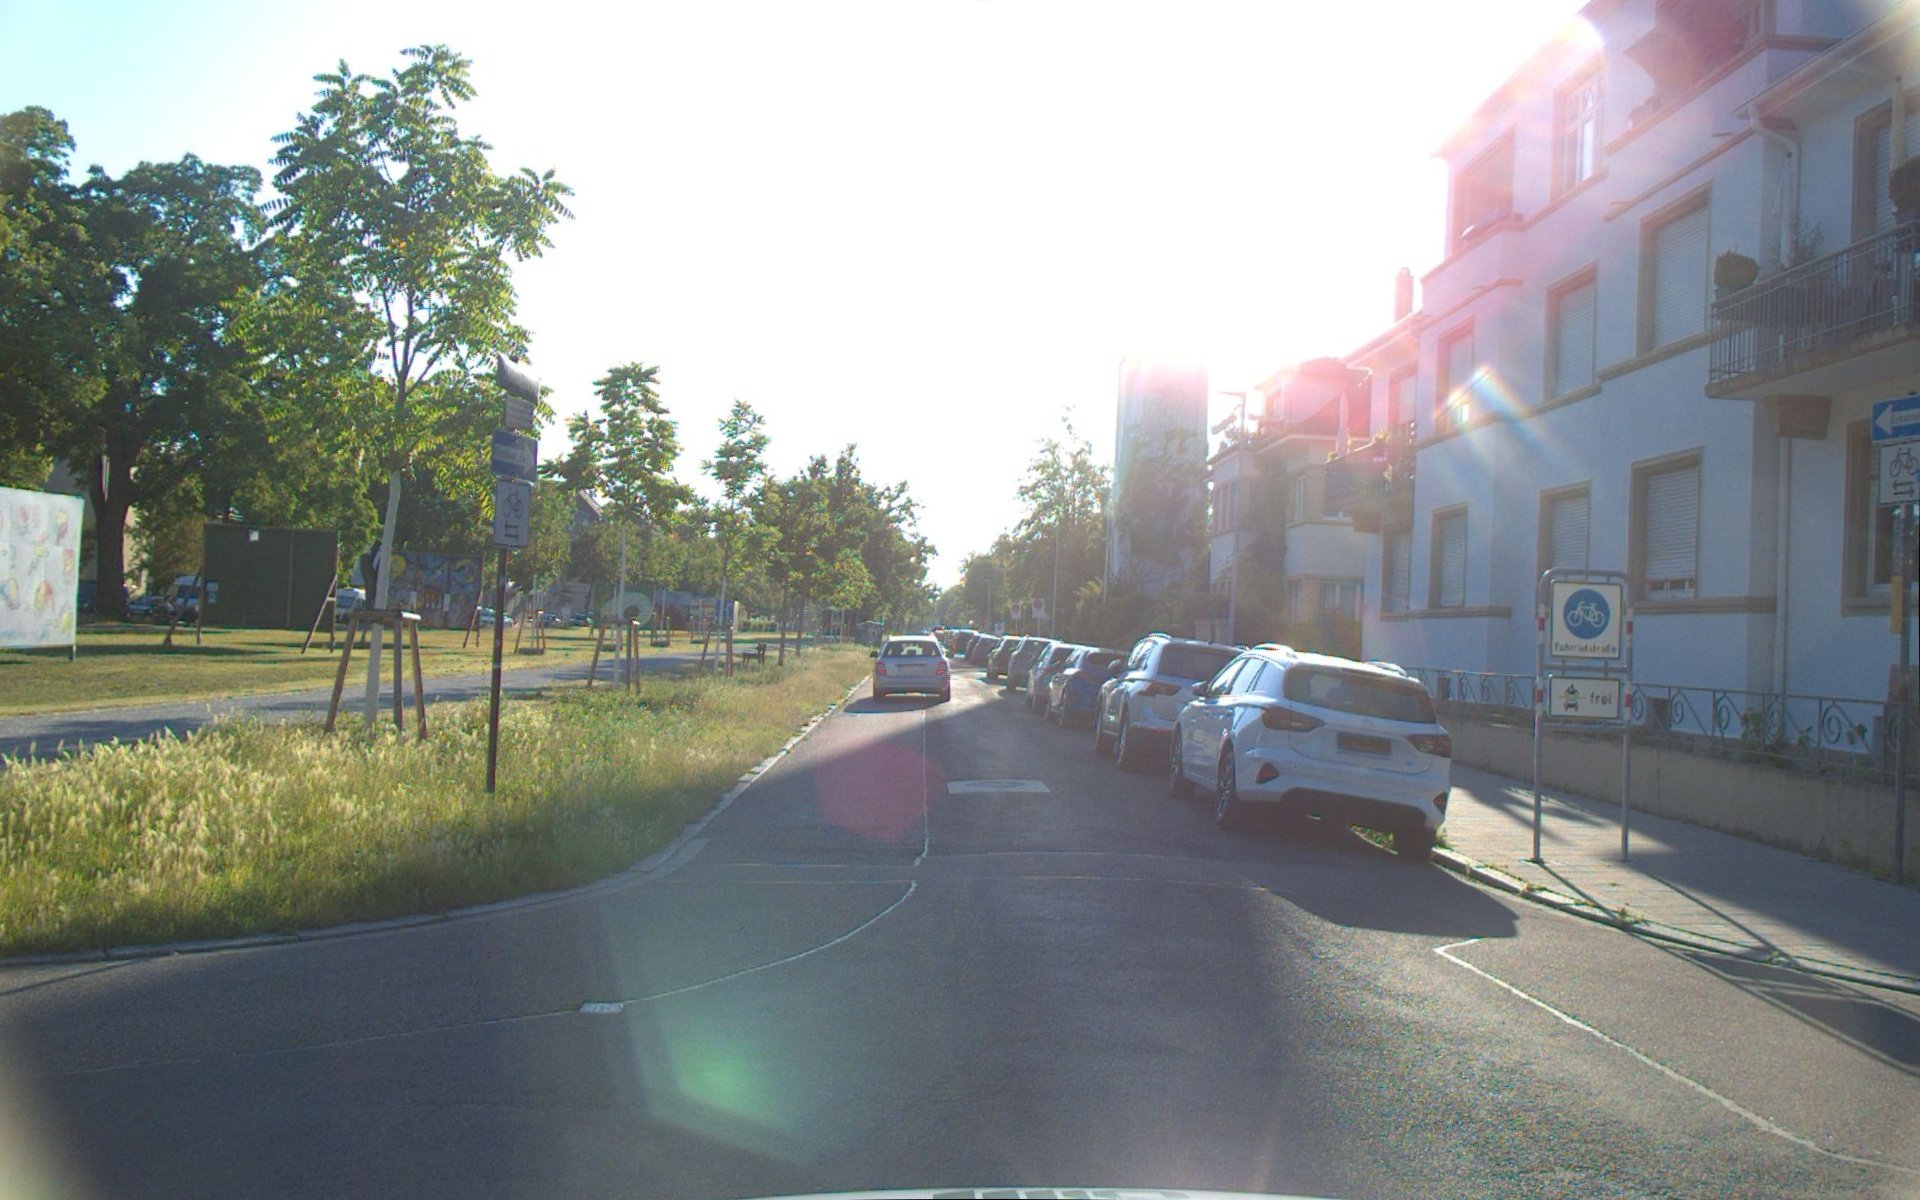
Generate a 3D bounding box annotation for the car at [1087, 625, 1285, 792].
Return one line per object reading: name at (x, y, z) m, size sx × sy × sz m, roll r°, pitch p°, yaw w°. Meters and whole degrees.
car at (2.725, 1.274, 20.808) m, size 1.652 × 1.679 × 4.098 m, roll 8°, pitch -1°, yaw -1°

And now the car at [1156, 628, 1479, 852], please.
car at (3.001, 1.112, 14.832) m, size 1.723 × 1.633 × 4.356 m, roll 3°, pitch -1°, yaw -3°

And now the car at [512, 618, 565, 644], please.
car at (-37.702, 2.795, 148.128) m, size 3.095 × 2.186 × 6.108 m, roll 1°, pitch -2°, yaw 0°

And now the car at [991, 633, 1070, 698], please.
car at (1.879, 1.748, 45.176) m, size 1.726 × 1.548 × 3.997 m, roll 5°, pitch -1°, yaw -2°

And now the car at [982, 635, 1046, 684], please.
car at (1.794, 1.987, 55.998) m, size 1.953 × 1.489 × 3.999 m, roll 3°, pitch -1°, yaw 0°

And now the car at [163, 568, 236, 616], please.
car at (-41.047, -0.395, 89.376) m, size 1.953 × 2.452 × 4.361 m, roll 1°, pitch -2°, yaw -1°

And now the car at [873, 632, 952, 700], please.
car at (-1.114, 1.467, 37.785) m, size 1.725 × 1.445 × 3.997 m, roll 0°, pitch -1°, yaw -3°

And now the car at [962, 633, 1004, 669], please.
car at (1.103, 2.497, 81.799) m, size 1.953 × 1.658 × 3.999 m, roll 3°, pitch -1°, yaw 0°

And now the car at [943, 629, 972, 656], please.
car at (-0.174, 2.984, 116.433) m, size 1.940 × 1.712 × 3.999 m, roll 3°, pitch -1°, yaw 0°

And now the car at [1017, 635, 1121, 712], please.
car at (2.262, 1.519, 35.170) m, size 1.726 × 1.445 × 3.997 m, roll 3°, pitch -1°, yaw -3°

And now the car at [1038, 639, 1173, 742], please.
car at (2.535, 1.562, 29.652) m, size 1.727 × 1.444 × 3.997 m, roll 9°, pitch -2°, yaw -2°

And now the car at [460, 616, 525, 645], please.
car at (-36.802, 2.433, 130.426) m, size 3.095 × 2.186 × 6.891 m, roll 1°, pitch -2°, yaw 0°

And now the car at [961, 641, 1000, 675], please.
car at (1.076, 3.050, 88.144) m, size 1.953 × 1.658 × 3.999 m, roll 3°, pitch -1°, yaw 0°
